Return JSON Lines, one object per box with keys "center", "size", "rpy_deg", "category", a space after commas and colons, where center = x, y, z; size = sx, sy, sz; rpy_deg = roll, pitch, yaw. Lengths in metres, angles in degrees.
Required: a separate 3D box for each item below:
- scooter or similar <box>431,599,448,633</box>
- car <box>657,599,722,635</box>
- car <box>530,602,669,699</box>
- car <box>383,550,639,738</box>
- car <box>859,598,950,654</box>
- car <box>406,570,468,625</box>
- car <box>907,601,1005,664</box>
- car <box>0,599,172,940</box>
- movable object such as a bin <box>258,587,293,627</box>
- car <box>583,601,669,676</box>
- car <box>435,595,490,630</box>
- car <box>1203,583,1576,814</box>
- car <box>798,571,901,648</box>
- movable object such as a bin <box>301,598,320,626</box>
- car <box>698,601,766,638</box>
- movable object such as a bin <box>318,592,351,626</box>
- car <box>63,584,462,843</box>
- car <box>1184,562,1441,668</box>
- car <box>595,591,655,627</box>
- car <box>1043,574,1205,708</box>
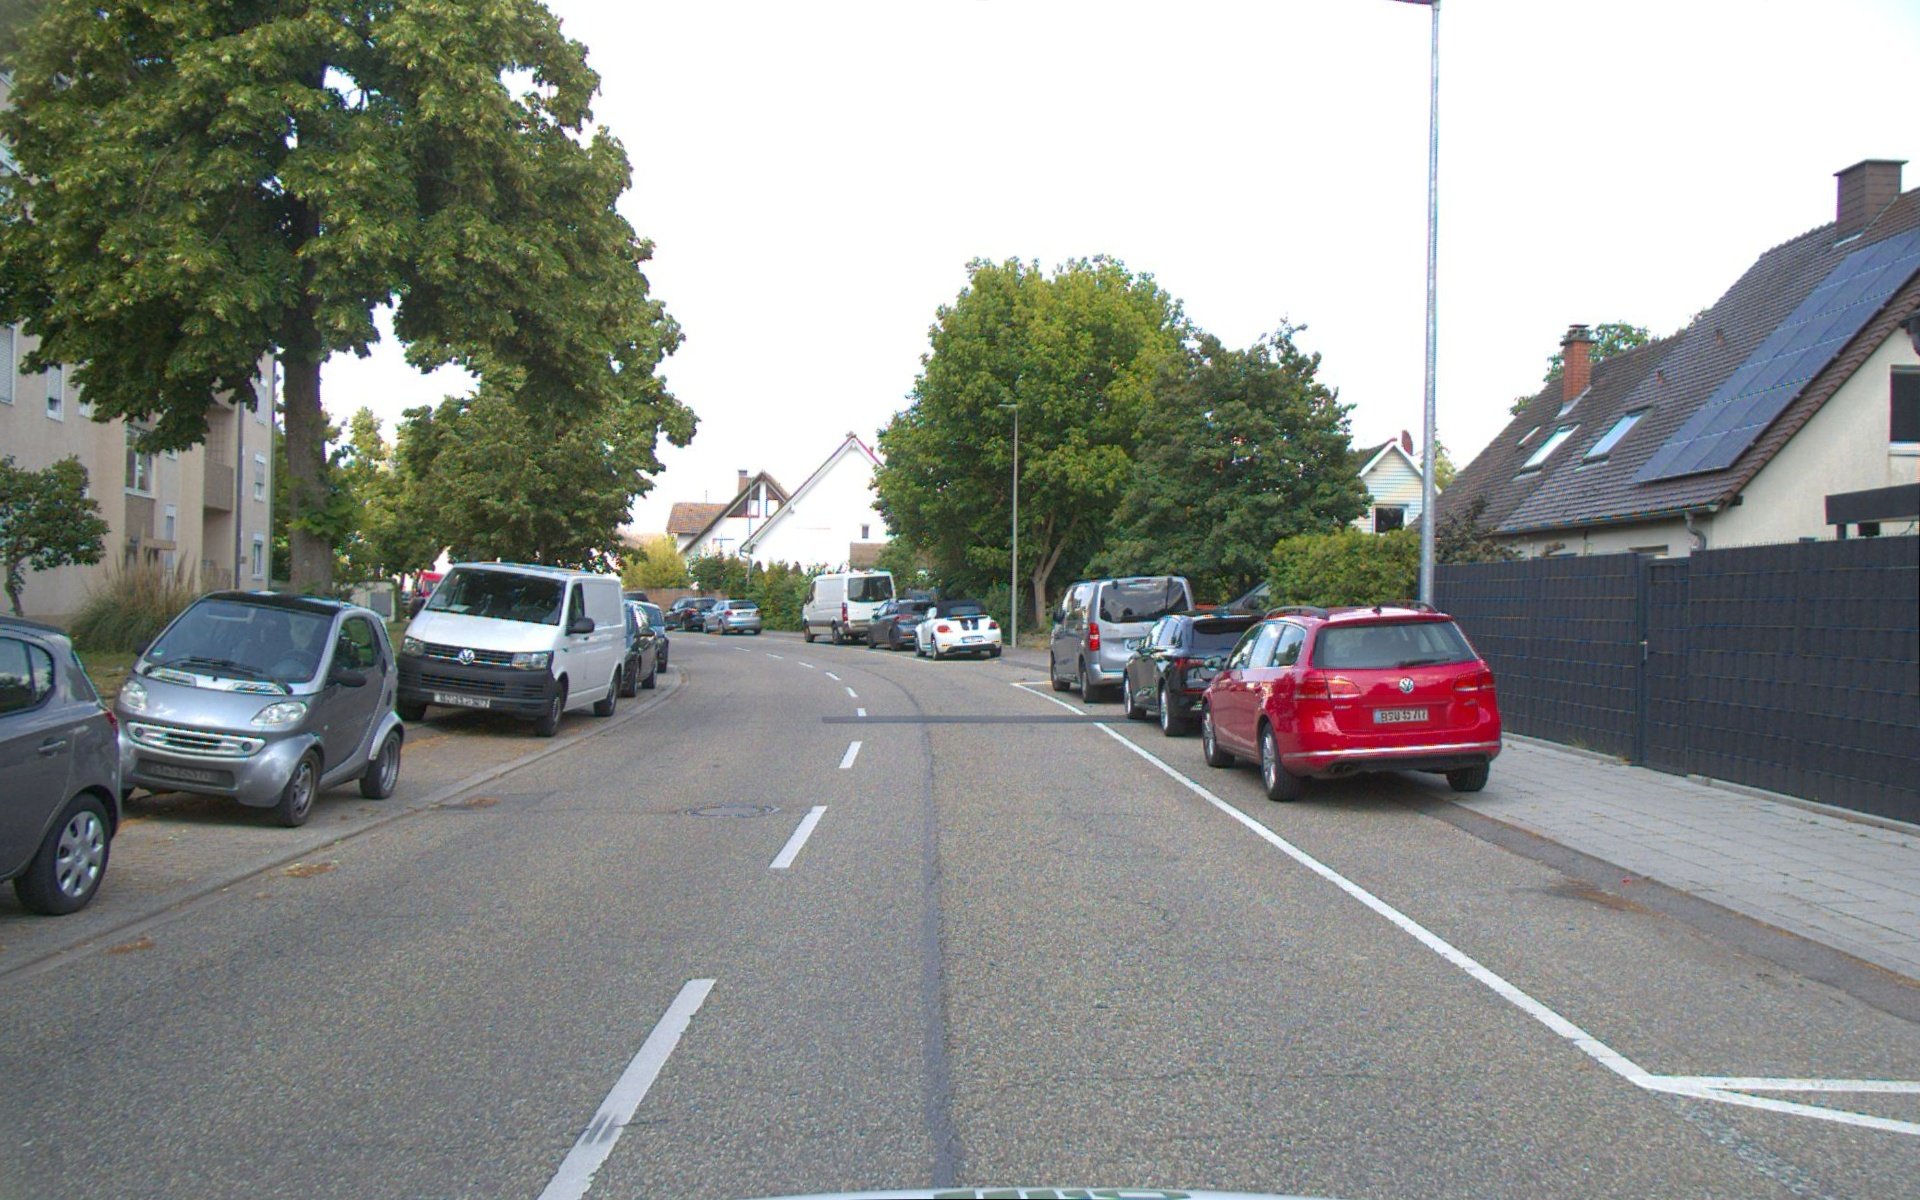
{"center": [-18.618, 0.554, 59.164], "size": [0.413, 1.186, 1.132], "rpy_deg": [2, 0, -23], "category": "scooter or similar"}
{"center": [-12.358, 0.757, 75.375], "size": [1.716, 1.535, 4.437], "rpy_deg": [1, 0, -26], "category": "car"}
{"center": [-6.200, 0.822, 28.881], "size": [1.726, 1.515, 4.500], "rpy_deg": [1, 0, -5], "category": "car"}
{"center": [-5.546, 0.489, 21.185], "size": [1.841, 2.044, 5.321], "rpy_deg": [2, 0, -1], "category": "car"}
{"center": [-1.747, 0.772, 50.758], "size": [1.691, 1.613, 4.102], "rpy_deg": [1, 0, -19], "category": "car"}
{"center": [-26.496, -0.152, 83.698], "size": [2.038, 2.544, 5.793], "rpy_deg": [5, -2, -26], "category": "car"}
{"center": [-0.166, 0.831, 43.906], "size": [1.709, 1.539, 4.445], "rpy_deg": [1, 0, -12], "category": "car"}
{"center": [-5.104, 0.701, 6.815], "size": [1.649, 1.512, 3.984], "rpy_deg": [4, -1, 1], "category": "car"}
{"center": [-27.410, 0.273, 66.224], "size": [1.182, 1.462, 1.360], "rpy_deg": [0, 4, -27], "category": "movable object such as a bin"}
{"center": [-7.581, 0.833, 37.271], "size": [1.730, 1.515, 4.019], "rpy_deg": [3, 0, -13], "category": "car"}
{"center": [-23.575, 0.589, 78.259], "size": [1.765, 1.483, 4.399], "rpy_deg": [6, -2, -25], "category": "car"}
{"center": [3.385, 0.698, 14.041], "size": [1.812, 1.607, 4.731], "rpy_deg": [1, 0, -2], "category": "car"}
{"center": [-3.880, 0.309, 56.922], "size": [2.085, 2.483, 5.862], "rpy_deg": [1, 0, -19], "category": "car"}
{"center": [-26.385, 0.482, 67.173], "size": [0.614, 1.042, 0.875], "rpy_deg": [0, 3, -15], "category": "movable object such as a bin"}
{"center": [-9.757, 0.826, 70.432], "size": [1.715, 1.483, 4.331], "rpy_deg": [1, 0, -24], "category": "car"}
{"center": [-25.481, 0.361, 67.437], "size": [1.172, 1.296, 0.875], "rpy_deg": [0, 3, -16], "category": "movable object such as a bin"}
{"center": [-5.212, 0.746, 12.905], "size": [1.488, 1.576, 3.754], "rpy_deg": [6, 0, -2], "category": "car"}
{"center": [7.578, 0.315, 35.712], "size": [5.226, 2.093, 2.002], "rpy_deg": [1, 0, 13], "category": "car"}
{"center": [-17.470, 0.433, 86.067], "size": [1.775, 1.779, 4.540], "rpy_deg": [1, 0, -29], "category": "car"}
{"center": [2.611, 0.623, 27.492], "size": [1.806, 1.978, 4.871], "rpy_deg": [-1, 0, -5], "category": "car"}
